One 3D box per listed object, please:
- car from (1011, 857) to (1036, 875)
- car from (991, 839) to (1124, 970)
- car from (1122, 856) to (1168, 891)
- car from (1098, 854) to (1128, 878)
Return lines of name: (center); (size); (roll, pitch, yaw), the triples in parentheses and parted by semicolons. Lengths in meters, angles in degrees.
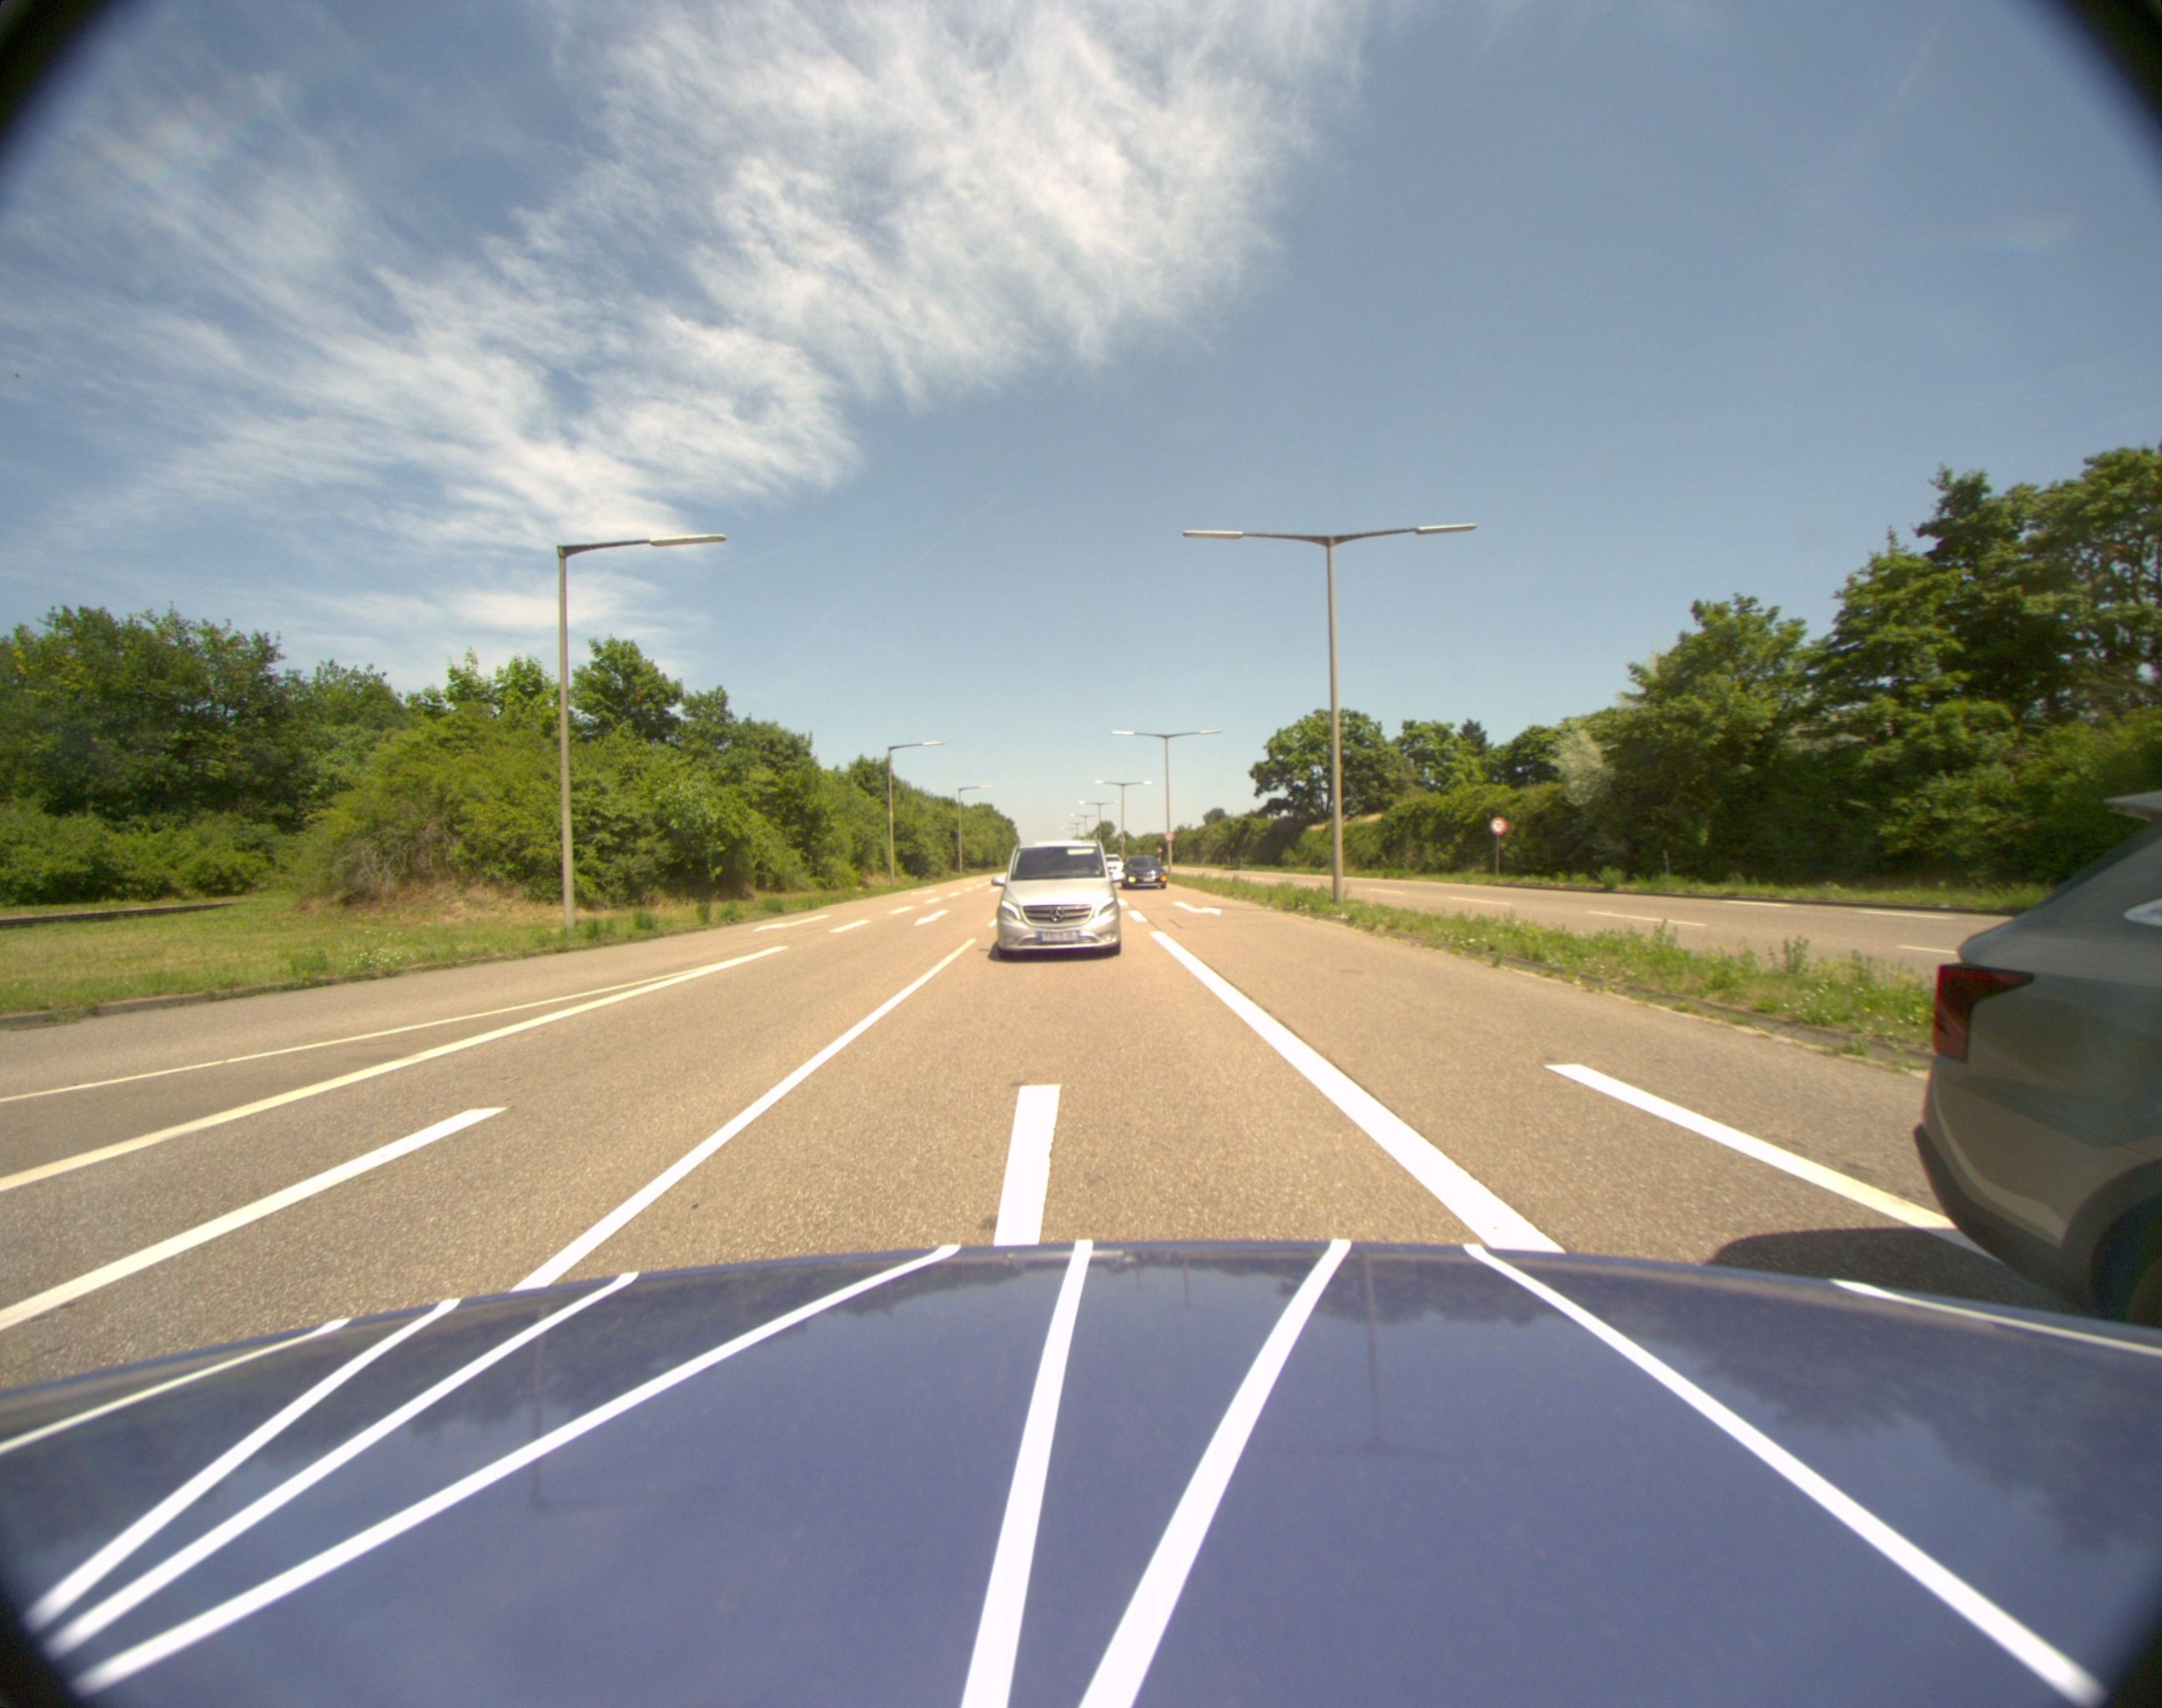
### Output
car: (-5.188, 1.082, 69.006); (1.722, 1.587, 4.001); (-1, 0, 2)
car: (-0.284, 0.730, 13.823); (1.876, 1.865, 5.732); (-1, 0, 1)
car: (2.931, 0.856, 35.436); (1.753, 1.491, 4.000); (-2, 0, 0)
car: (2.313, 0.844, 55.293); (1.921, 1.661, 4.001); (-1, 1, -1)
